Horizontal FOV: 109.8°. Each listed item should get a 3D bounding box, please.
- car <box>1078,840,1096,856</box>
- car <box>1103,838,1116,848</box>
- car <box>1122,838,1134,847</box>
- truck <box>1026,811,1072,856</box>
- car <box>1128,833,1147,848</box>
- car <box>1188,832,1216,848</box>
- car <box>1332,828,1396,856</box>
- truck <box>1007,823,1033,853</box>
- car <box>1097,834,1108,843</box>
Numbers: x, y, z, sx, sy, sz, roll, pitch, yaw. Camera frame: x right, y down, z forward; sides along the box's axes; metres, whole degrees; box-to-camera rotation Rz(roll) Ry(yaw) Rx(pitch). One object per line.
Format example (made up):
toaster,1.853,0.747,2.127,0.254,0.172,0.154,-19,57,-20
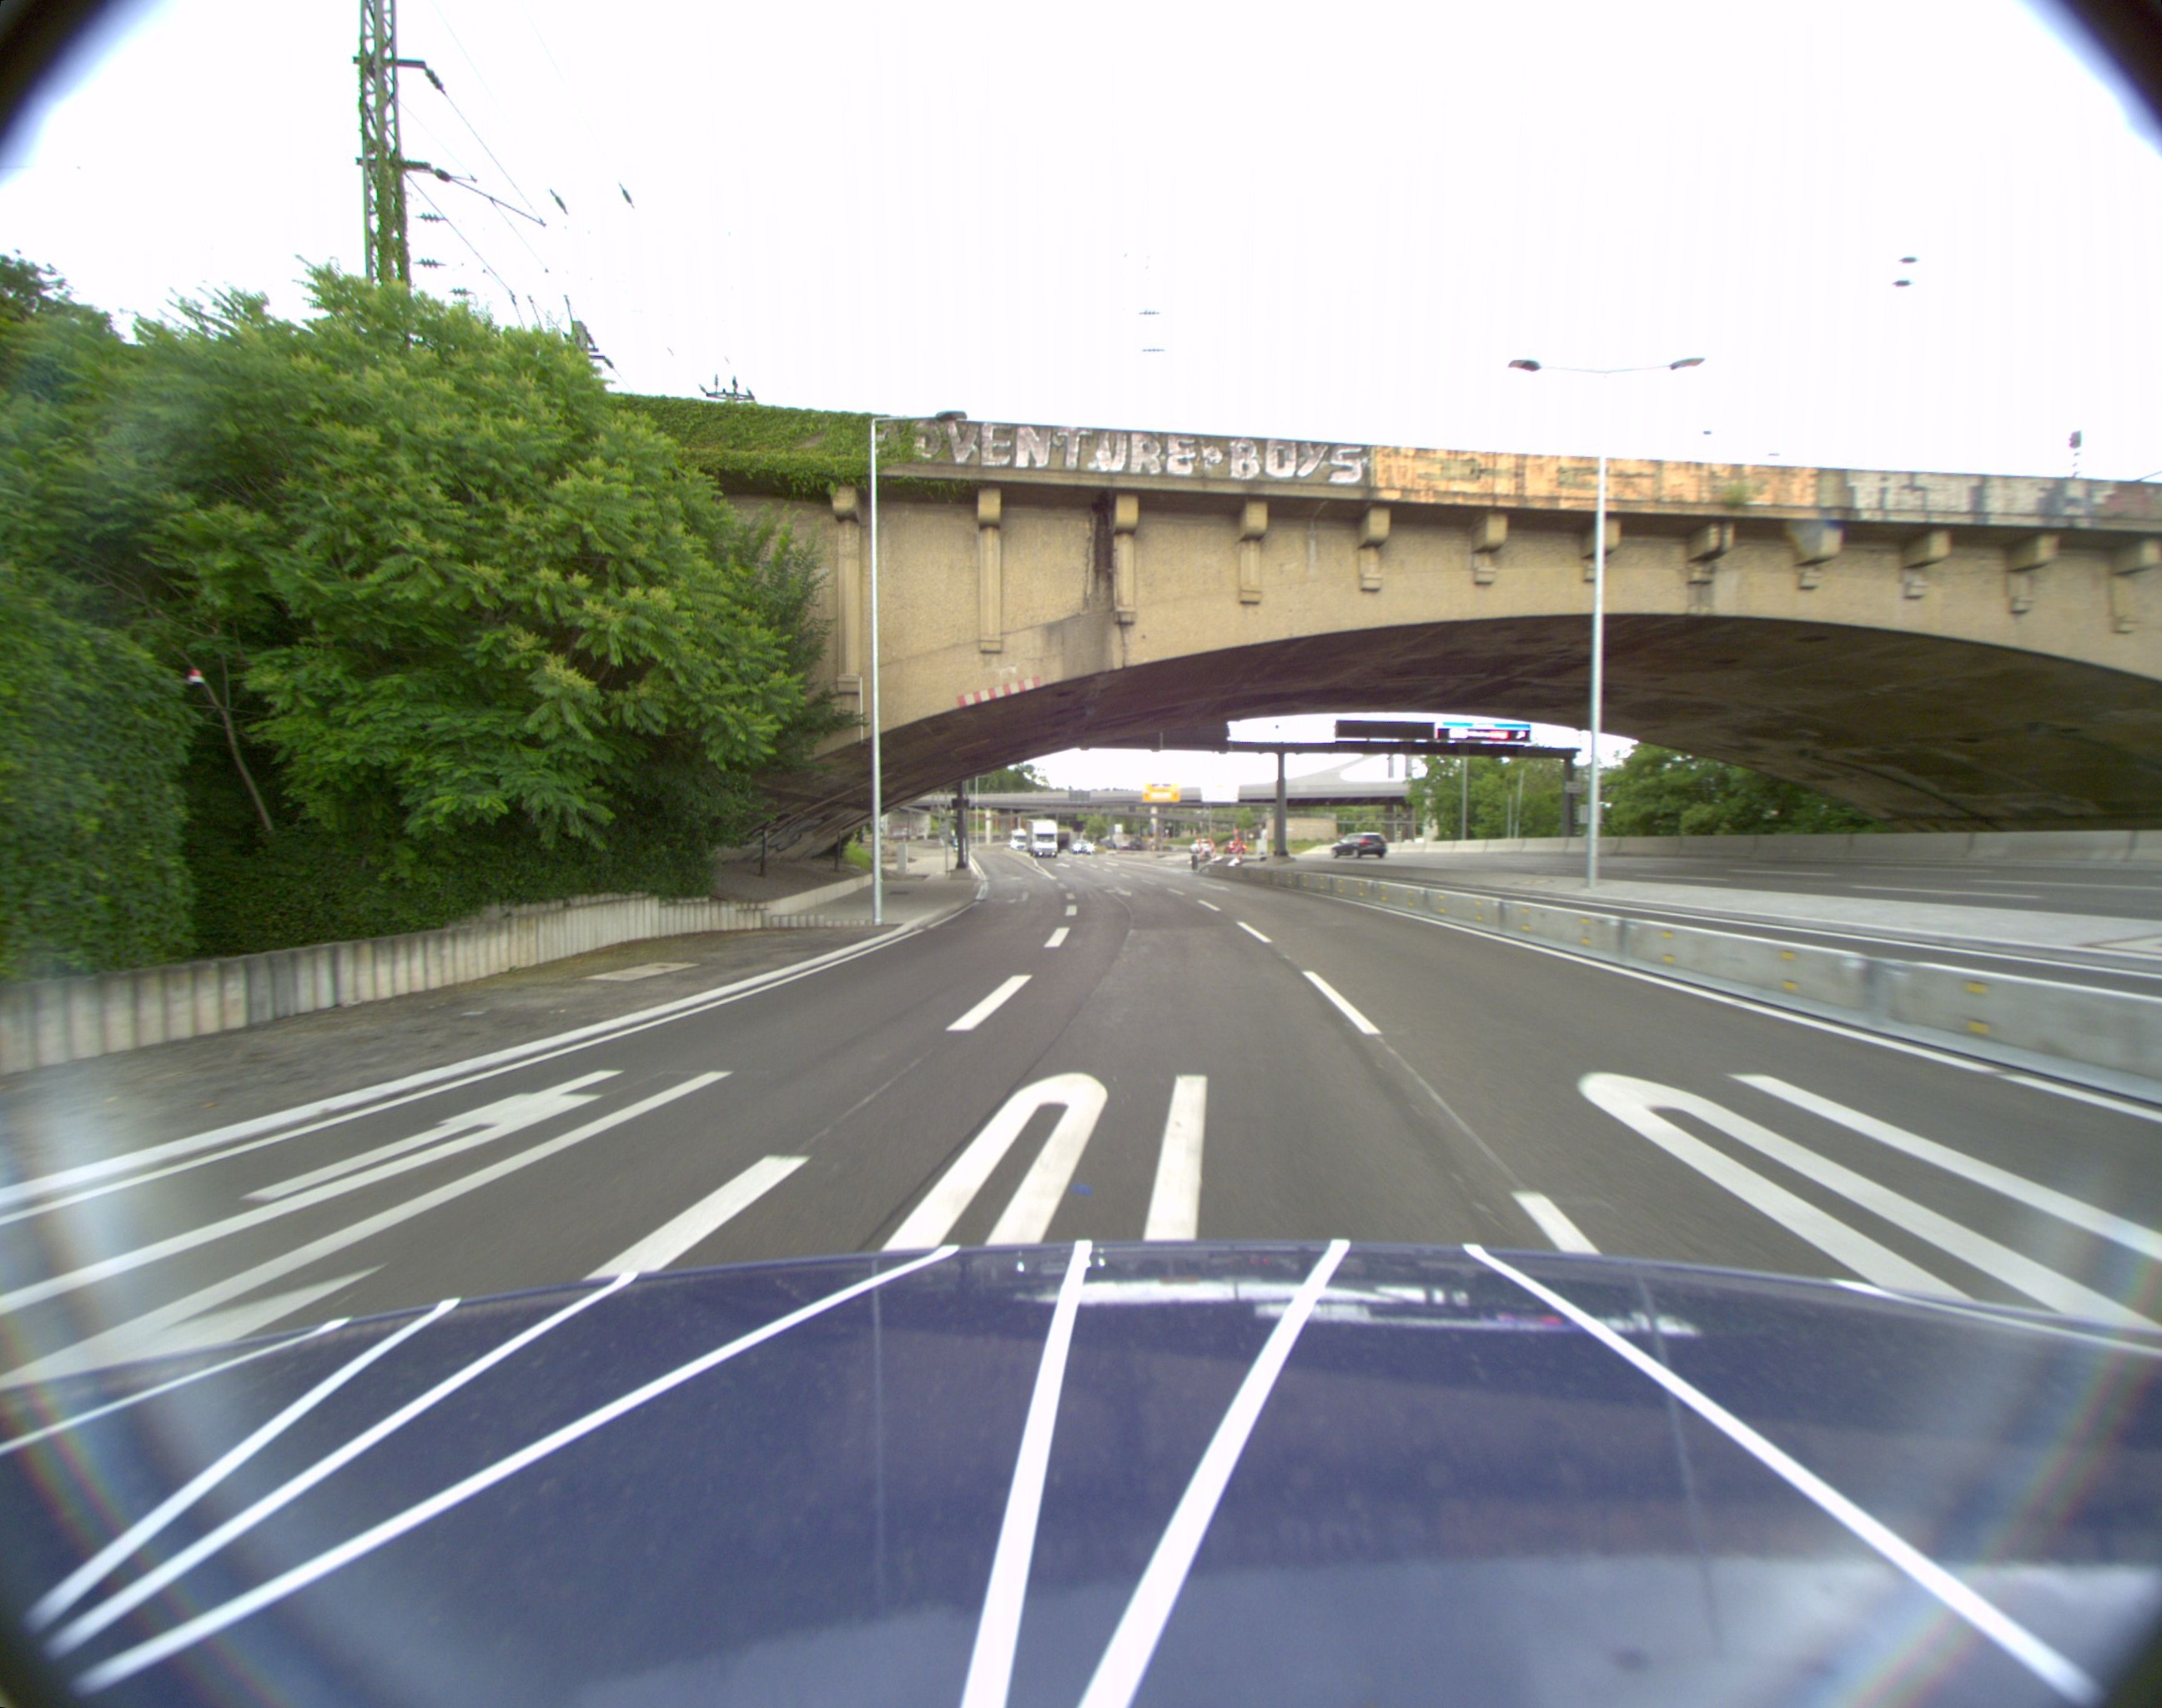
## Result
car,0.694,-0.691,90.474,1.868,1.827,4.204,-1,1,-3
car,5.924,-2.225,156.415,2.020,1.964,4.716,-2,1,-5
car,9.927,-2.356,162.079,1.999,1.805,3.998,-2,1,-4
truck,-3.034,-1.762,69.090,3.034,3.566,8.943,-4,1,-8
car,10.121,-2.433,136.999,2.296,2.476,6.192,-2,1,-5
car,12.470,-1.409,78.711,1.843,1.528,4.398,-2,1,-5
car,17.077,-0.722,46.066,1.823,1.528,4.397,-2,1,-6
truck,-7.857,-1.965,97.532,2.575,3.548,9.106,-3,1,-9
car,3.929,-2.741,137.177,1.640,1.455,3.999,-4,1,-2
